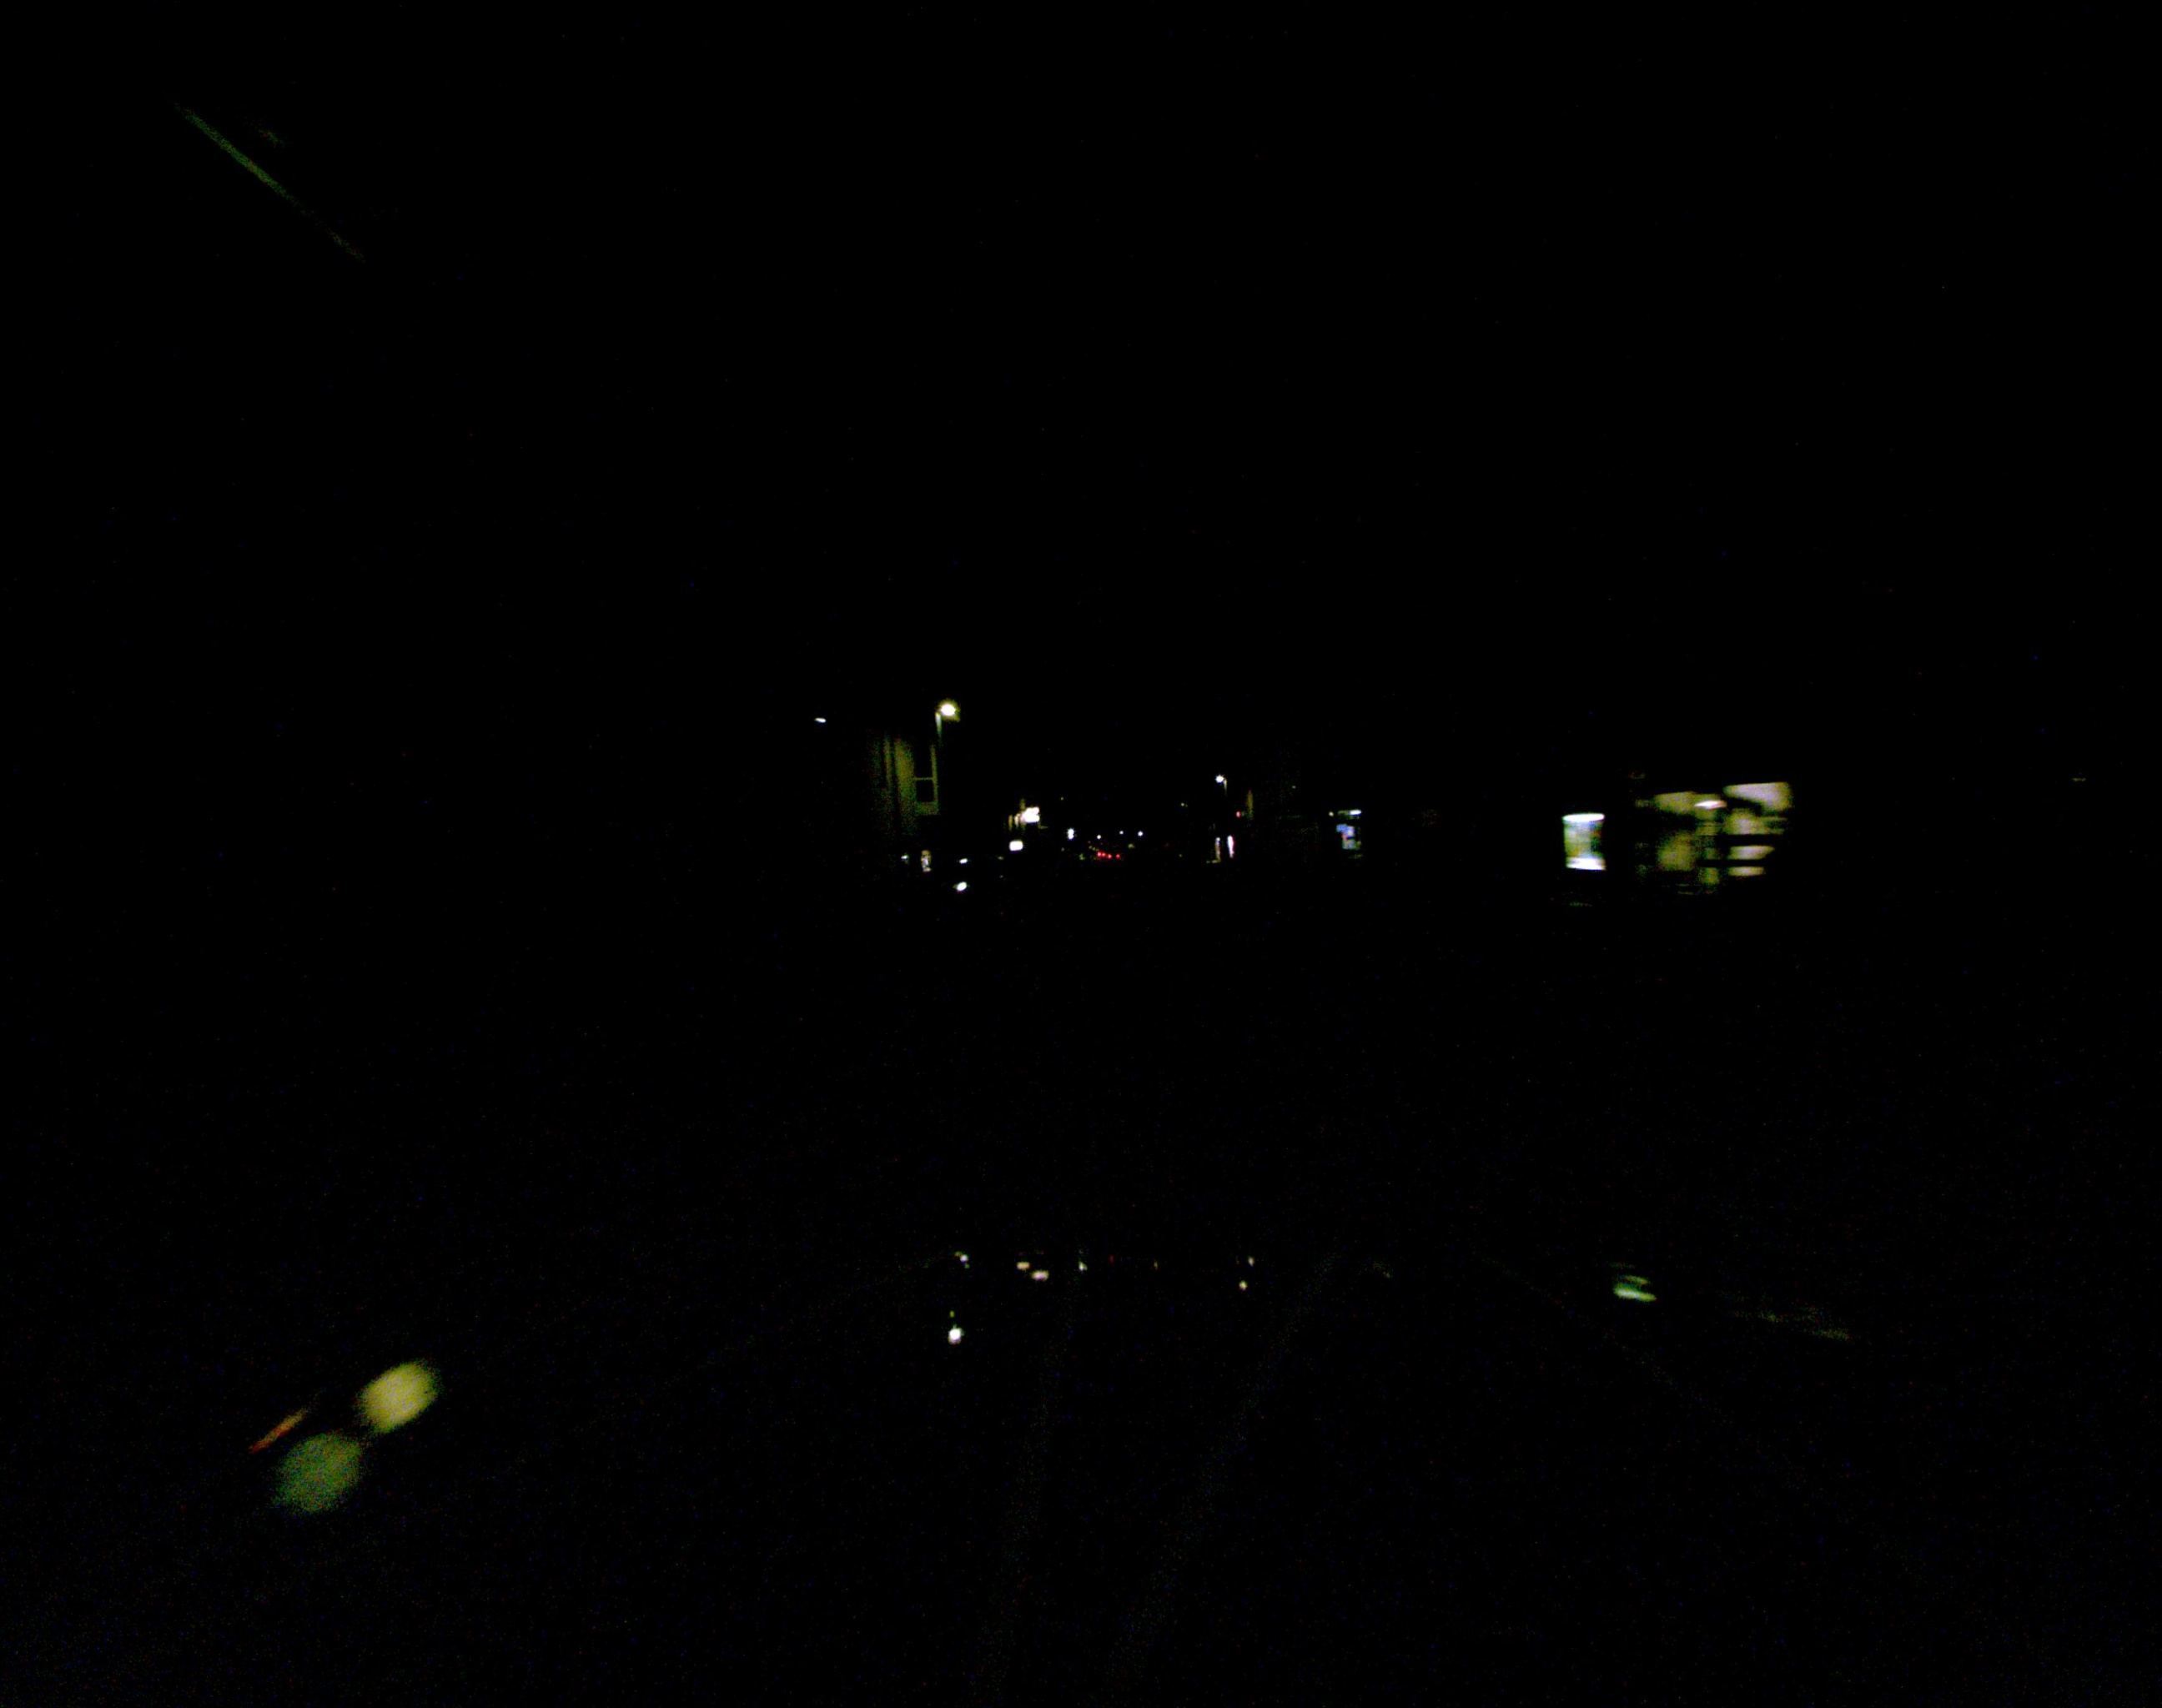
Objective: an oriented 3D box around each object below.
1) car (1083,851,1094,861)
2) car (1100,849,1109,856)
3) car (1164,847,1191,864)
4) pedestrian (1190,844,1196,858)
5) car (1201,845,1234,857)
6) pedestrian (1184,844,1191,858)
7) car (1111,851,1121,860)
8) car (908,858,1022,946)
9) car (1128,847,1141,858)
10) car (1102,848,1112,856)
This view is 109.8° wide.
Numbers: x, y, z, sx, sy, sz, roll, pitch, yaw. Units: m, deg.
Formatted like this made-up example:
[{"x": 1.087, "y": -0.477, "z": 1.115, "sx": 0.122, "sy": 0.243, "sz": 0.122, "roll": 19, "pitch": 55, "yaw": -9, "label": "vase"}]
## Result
[{"x": 1.193, "y": 0.277, "z": 117.195, "sx": 1.606, "sy": 1.474, "sz": 3.698, "roll": -2, "pitch": 0, "yaw": -1, "label": "car"}, {"x": 5.104, "y": -0.328, "z": 165.446, "sx": 1.822, "sy": 1.271, "sz": 3.916, "roll": -2, "pitch": 0, "yaw": 1, "label": "car"}, {"x": 8.772, "y": 0.124, "z": 69.212, "sx": 1.901, "sy": 1.411, "sz": 4.931, "roll": -4, "pitch": 0, "yaw": 2, "label": "car"}, {"x": 13.216, "y": -0.373, "z": 89.802, "sx": 0.529, "sy": 1.579, "sz": 0.665, "roll": -3, "pitch": 1, "yaw": -8, "label": "pedestrian"}, {"x": 16.820, "y": -0.333, "z": 93.787, "sx": 3.832, "sy": 1.408, "sz": 1.653, "roll": -2, "pitch": 1, "yaw": 3, "label": "car"}, {"x": 12.587, "y": -0.383, "z": 89.876, "sx": 0.529, "sy": 1.579, "sz": 0.665, "roll": -3, "pitch": 1, "yaw": -5, "label": "pedestrian"}, {"x": 5.930, "y": 0.281, "z": 128.625, "sx": 1.721, "sy": 1.420, "sz": 3.816, "roll": -2, "pitch": 0, "yaw": 2, "label": "car"}, {"x": -2.339, "y": 0.918, "z": 16.412, "sx": 1.747, "sy": 1.560, "sz": 4.208, "roll": -2, "pitch": 0, "yaw": 0, "label": "car"}, {"x": 8.687, "y": -0.318, "z": 123.098, "sx": 1.814, "sy": 1.637, "sz": 3.803, "roll": -4, "pitch": 0, "yaw": 1, "label": "car"}, {"x": 5.050, "y": -0.381, "z": 148.174, "sx": 1.752, "sy": 1.635, "sz": 4.307, "roll": -2, "pitch": 0, "yaw": -1, "label": "car"}]
